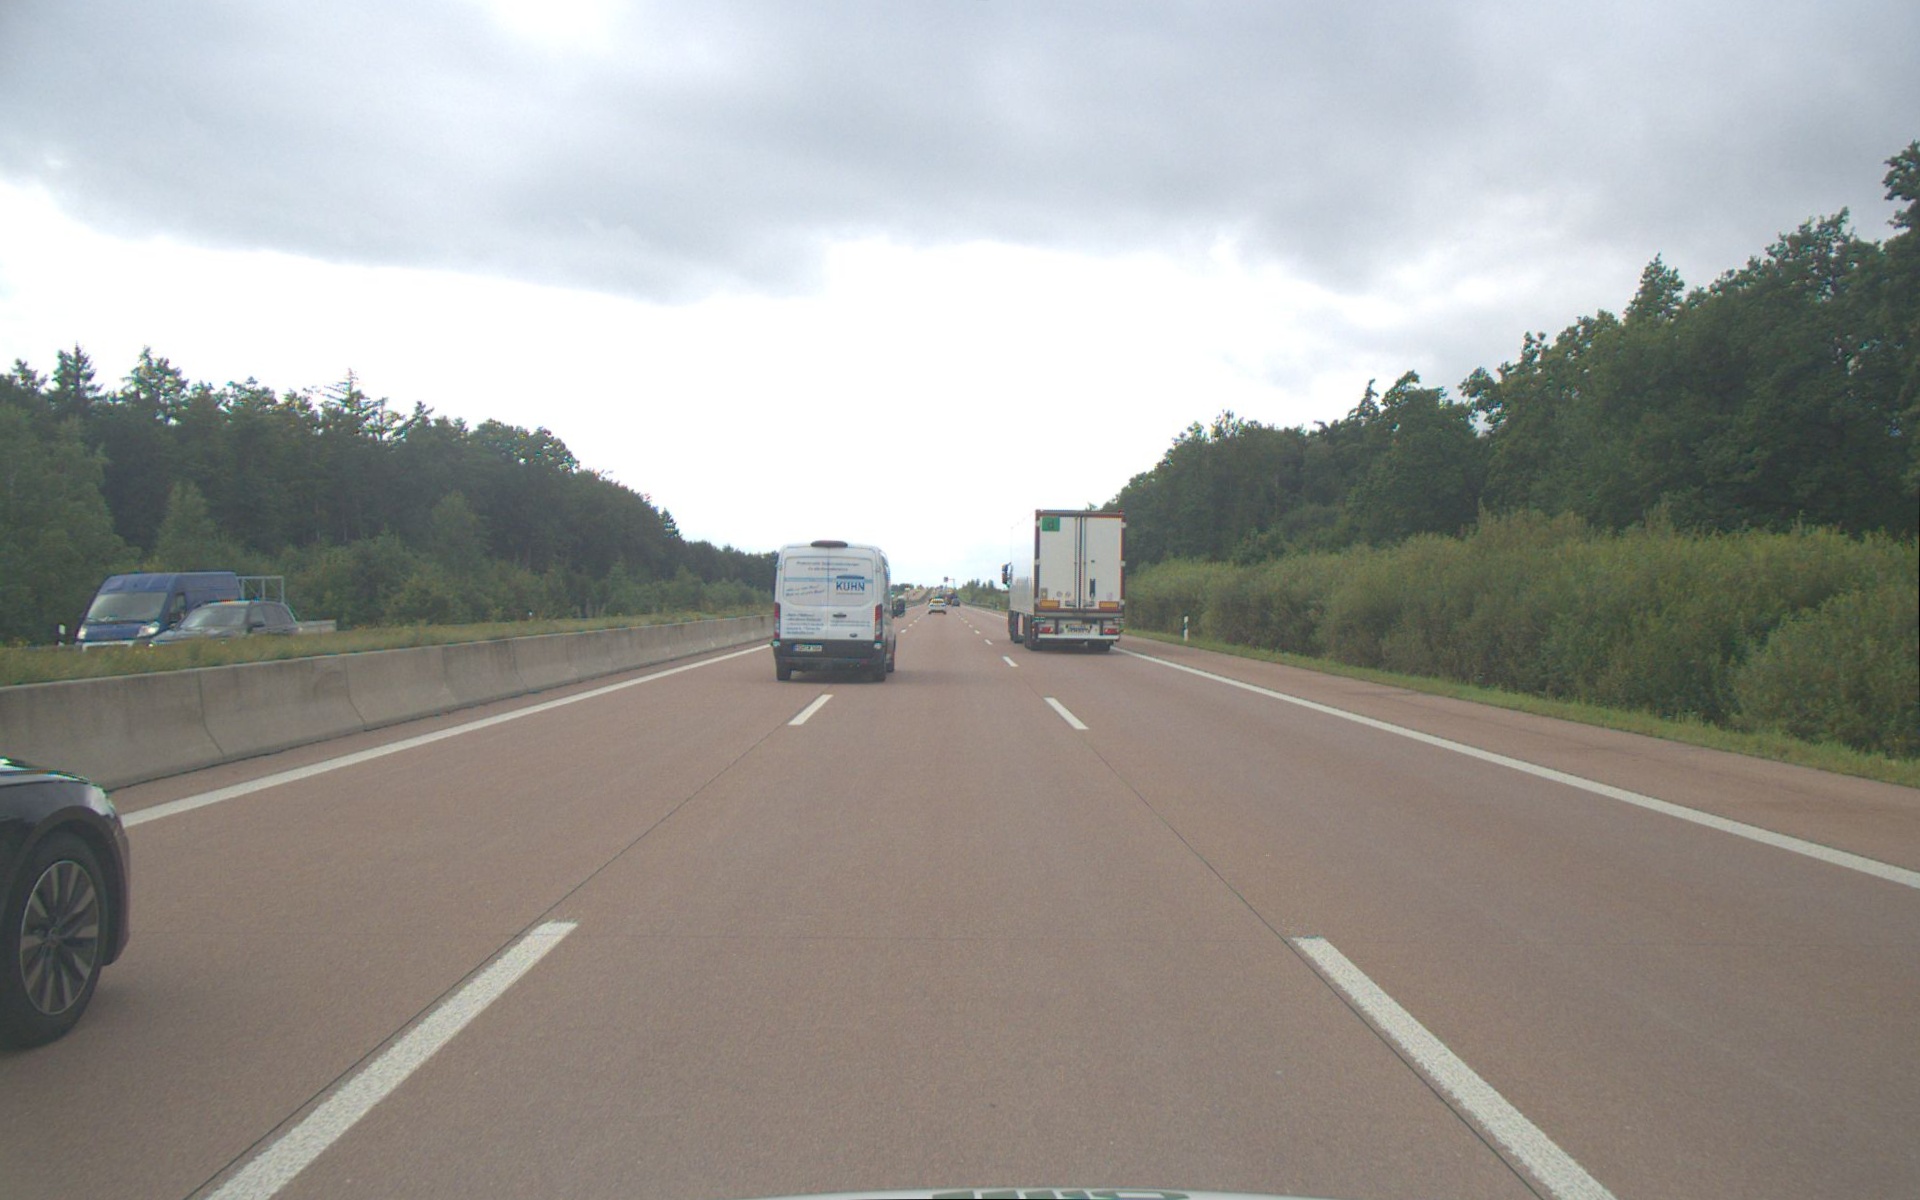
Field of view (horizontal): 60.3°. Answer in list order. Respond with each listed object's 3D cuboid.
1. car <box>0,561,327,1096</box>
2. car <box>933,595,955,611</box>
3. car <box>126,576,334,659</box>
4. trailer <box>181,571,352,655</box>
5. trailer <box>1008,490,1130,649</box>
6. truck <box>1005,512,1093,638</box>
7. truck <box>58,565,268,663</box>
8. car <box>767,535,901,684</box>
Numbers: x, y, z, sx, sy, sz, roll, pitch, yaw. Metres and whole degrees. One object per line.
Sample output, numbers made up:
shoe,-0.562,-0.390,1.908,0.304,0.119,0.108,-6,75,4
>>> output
car,-3.851,0.655,4.355,2.042,1.577,5.675,1,0,1
car,-1.625,0.302,169.682,2.119,1.476,4.719,2,0,1
car,-15.753,0.351,36.053,2.299,1.655,5.127,1,0,-1
trailer,-19.531,0.329,46.941,2.284,2.199,6.188,1,0,-1
trailer,3.223,-0.838,52.641,2.862,4.369,13.612,0,0,0
truck,3.156,-0.865,60.164,2.862,4.369,5.334,0,0,-1
truck,-19.457,0.312,40.791,2.299,2.199,6.042,1,0,-1
car,-2.291,0.127,31.972,2.094,2.551,7.131,0,0,0
